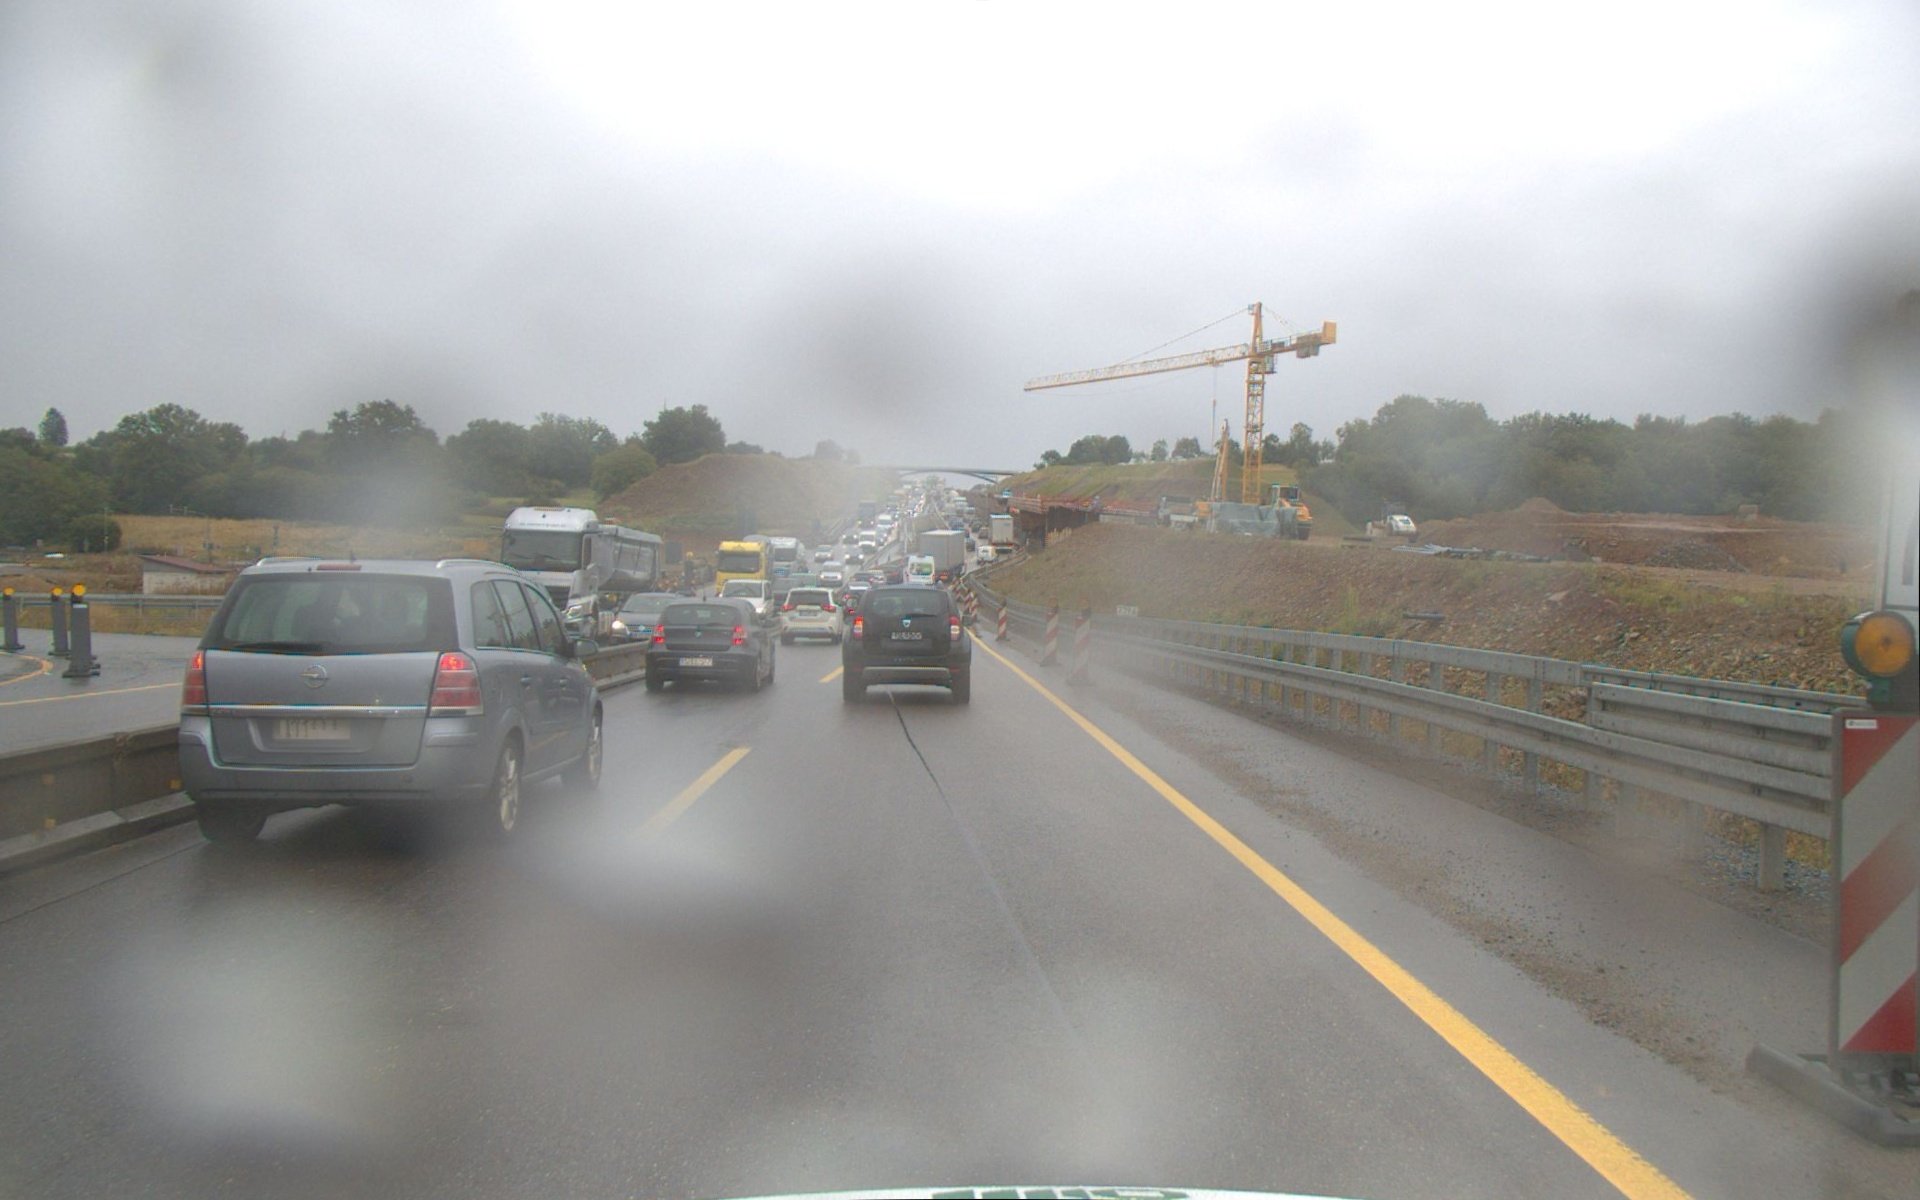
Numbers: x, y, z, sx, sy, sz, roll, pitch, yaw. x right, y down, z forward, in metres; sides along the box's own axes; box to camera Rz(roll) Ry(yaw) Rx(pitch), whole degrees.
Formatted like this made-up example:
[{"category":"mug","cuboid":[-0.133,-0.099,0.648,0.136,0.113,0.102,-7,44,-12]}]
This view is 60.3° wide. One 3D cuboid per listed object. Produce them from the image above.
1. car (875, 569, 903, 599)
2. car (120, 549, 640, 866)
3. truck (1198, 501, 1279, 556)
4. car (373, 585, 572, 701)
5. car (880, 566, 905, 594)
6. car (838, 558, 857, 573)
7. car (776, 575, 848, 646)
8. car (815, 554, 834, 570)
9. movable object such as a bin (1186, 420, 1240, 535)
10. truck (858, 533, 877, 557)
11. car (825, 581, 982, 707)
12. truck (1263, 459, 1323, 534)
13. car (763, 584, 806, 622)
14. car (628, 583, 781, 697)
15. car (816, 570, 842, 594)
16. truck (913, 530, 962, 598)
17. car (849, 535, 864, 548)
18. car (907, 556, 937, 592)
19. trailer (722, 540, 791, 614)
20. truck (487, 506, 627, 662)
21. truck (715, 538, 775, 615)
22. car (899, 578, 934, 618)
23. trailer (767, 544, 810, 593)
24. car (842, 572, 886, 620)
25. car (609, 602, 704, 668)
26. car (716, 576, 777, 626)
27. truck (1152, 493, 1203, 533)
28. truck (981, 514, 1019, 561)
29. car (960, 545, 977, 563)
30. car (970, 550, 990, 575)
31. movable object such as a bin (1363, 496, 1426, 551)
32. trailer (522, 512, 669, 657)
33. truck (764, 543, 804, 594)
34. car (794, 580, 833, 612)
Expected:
[{"category":"car","cuboid":[-5.341,-1.219,124.844,1.953,2.200,4.139,1,0,-1]},{"category":"car","cuboid":[-3.436,0.553,10.743,1.953,1.628,4.140,1,0,-1]},{"category":"truck","cuboid":[16.735,-4.270,100.125,3.326,2.925,8.959,1,0,0]},{"category":"car","cuboid":[-7.658,0.614,26.440,1.953,1.684,4.468,0,0,-2]},{"category":"car","cuboid":[-5.560,-1.648,135.983,1.953,2.200,4.139,1,0,-1]},{"category":"car","cuboid":[-11.579,-3.561,170.385,1.737,1.530,4.677,1,1,-2]},{"category":"car","cuboid":[-4.441,0.288,50.215,1.953,2.049,3.892,1,0,-2]},{"category":"car","cuboid":[-14.101,-3.954,172.044,1.752,1.573,3.999,1,1,-2]},{"category":"movable object such as a bin","cuboid":[25.983,-12.400,169.519,4.618,11.031,10.312,1,0,13]},{"category":"truck","cuboid":[-10.638,-6.334,190.811,2.037,2.621,5.959,1,0,-2]},{"category":"car","cuboid":[-0.782,0.568,23.975,2.039,1.628,4.140,1,0,-1]},{"category":"truck","cuboid":[20.838,-6.428,103.785,2.325,4.292,5.977,1,0,-2]},{"category":"car","cuboid":[-8.777,0.154,83.031,1.751,1.837,5.188,0,0,-2]},{"category":"car","cuboid":[-3.934,0.567,26.091,1.954,1.628,4.138,1,0,-3]},{"category":"car","cuboid":[-10.262,-1.393,130.222,1.828,1.831,4.161,1,0,-2]},{"category":"truck","cuboid":[-1.885,-3.015,141.850,3.036,5.520,9.449,1,0,6]},{"category":"car","cuboid":[-13.263,-7.478,211.619,1.751,1.565,4.311,1,1,-2]},{"category":"car","cuboid":[-2.694,-1.852,118.837,1.952,2.527,4.982,1,0,0]},{"category":"trailer","cuboid":[-12.240,-1.364,100.751,2.694,4.113,15.354,1,0,-2]},{"category":"truck","cuboid":[-10.841,-0.432,44.931,2.632,3.995,5.272,0,0,-2]},{"category":"truck","cuboid":[-12.052,-1.320,93.155,2.694,4.133,6.146,1,0,-2]},{"category":"car","cuboid":[-2.512,-0.121,96.156,1.953,2.200,4.140,1,0,-1]},{"category":"trailer","cuboid":[-13.759,-2.470,133.362,2.568,3.741,11.999,1,0,-2]},{"category":"car","cuboid":[-4.642,-0.186,79.510,1.954,2.200,4.136,1,0,-5]},{"category":"car","cuboid":[-7.374,0.807,40.541,1.675,1.479,3.999,1,0,-2]},{"category":"car","cuboid":[-8.238,0.029,64.247,1.837,1.824,5.357,1,0,-2]},{"category":"truck","cuboid":[15.957,-6.337,121.743,2.592,2.599,6.981,1,0,-2]},{"category":"truck","cuboid":[4.724,-7.477,200.166,3.727,5.130,12.916,1,0,-2]},{"category":"car","cuboid":[1.011,-5.534,199.082,1.953,2.048,3.999,0,2,-2]},{"category":"car","cuboid":[2.071,-3.891,174.065,1.953,2.527,4.740,1,0,-1]},{"category":"movable object such as a bin","cuboid":[31.338,-5.459,119.436,2.295,3.662,6.554,1,0,-5]},{"category":"trailer","cuboid":[-11.030,-0.463,51.058,2.632,4.032,9.816,0,0,-2]},{"category":"truck","cuboid":[-13.544,-2.411,127.669,2.568,3.741,6.592,1,0,-2]},{"category":"car","cuboid":[-8.546,-0.277,96.693,1.953,1.790,4.686,1,1,-2]}]
